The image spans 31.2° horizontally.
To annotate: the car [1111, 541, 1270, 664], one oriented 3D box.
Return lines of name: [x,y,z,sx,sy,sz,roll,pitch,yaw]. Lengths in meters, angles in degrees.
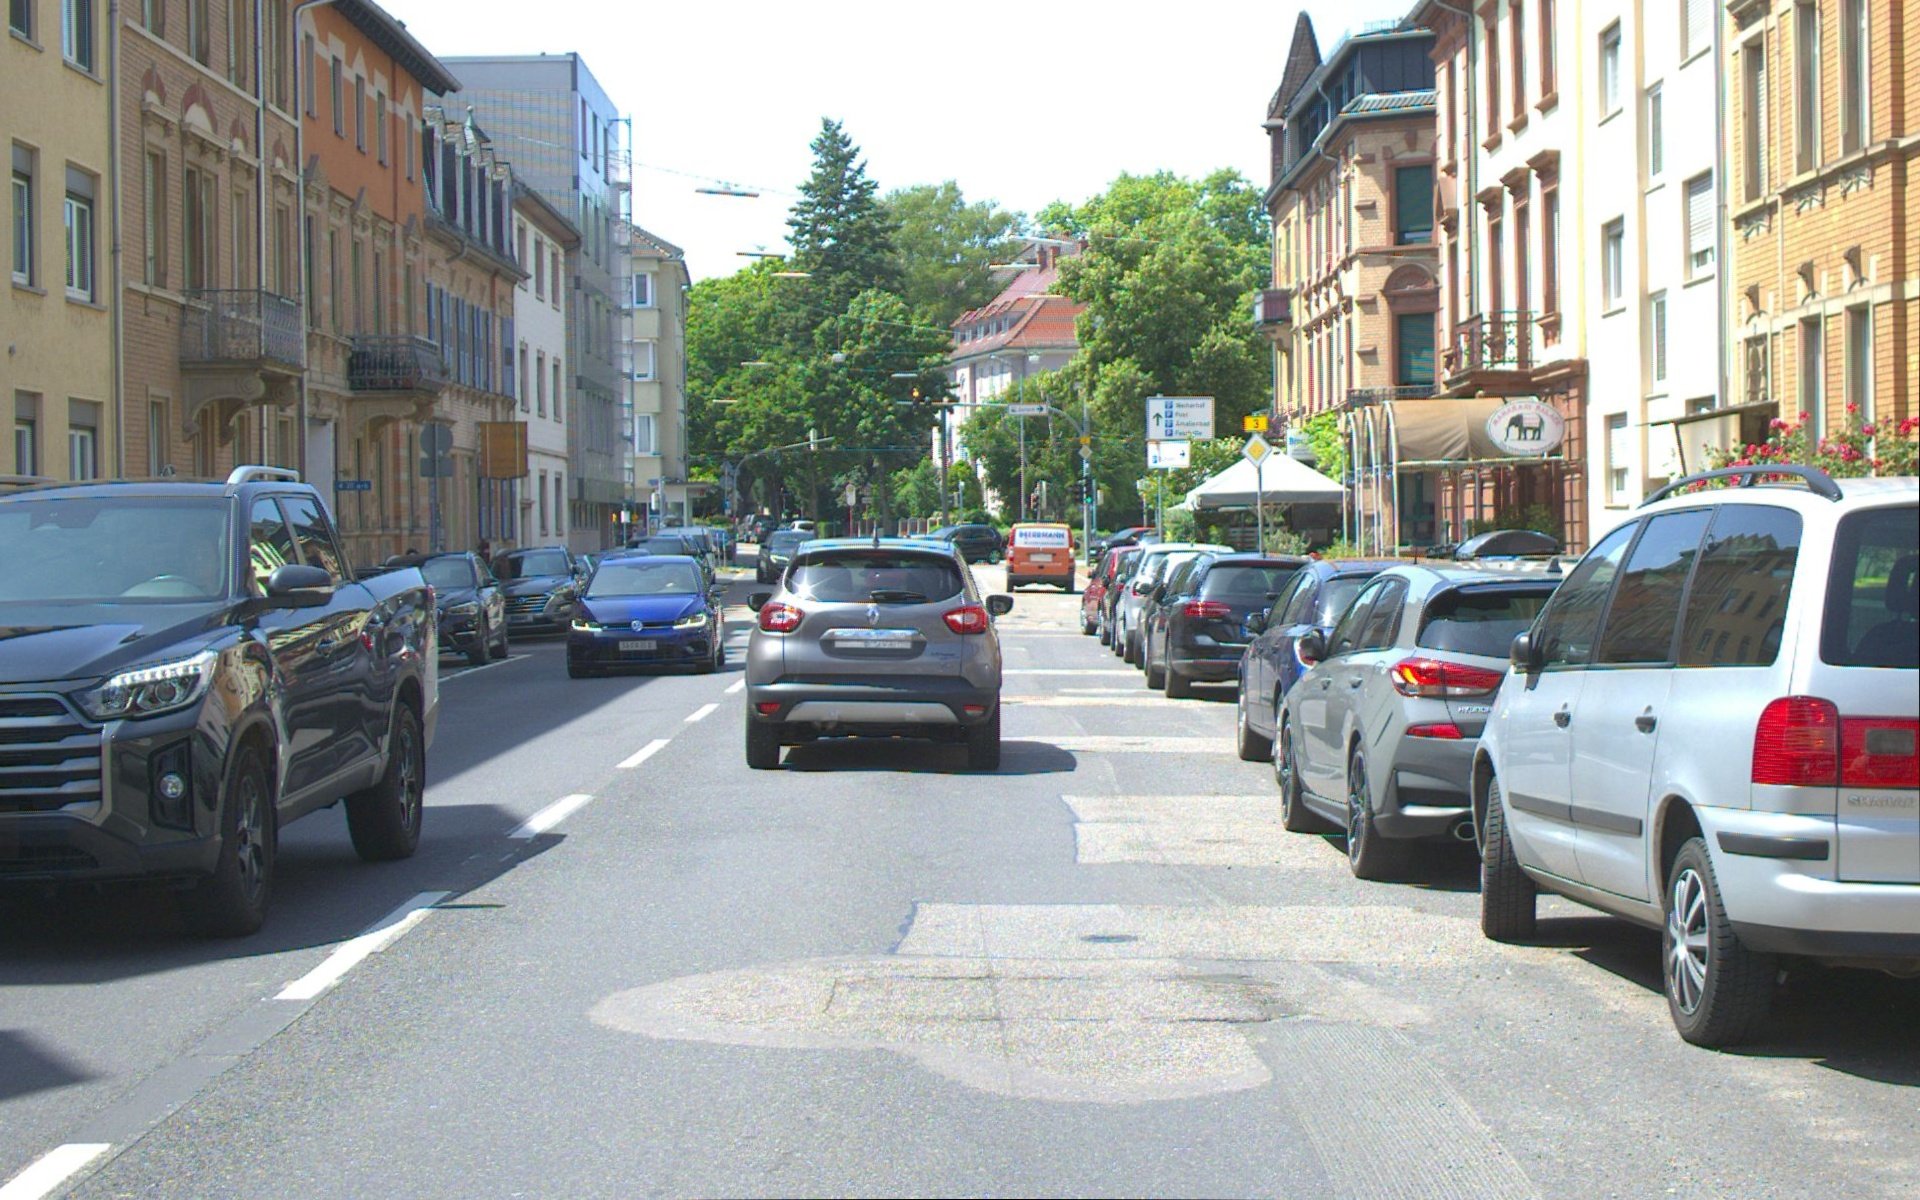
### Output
car: [3.062,0.002,46.356,1.860,1.548,4.000,1,1,0]

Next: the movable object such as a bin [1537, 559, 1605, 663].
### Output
movable object such as a bin: [7.063,0.121,39.766,0.638,1.182,0.852,1,1,2]

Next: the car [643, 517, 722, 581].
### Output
car: [-8.128,-1.503,100.863,1.904,1.815,4.302,-1,1,0]

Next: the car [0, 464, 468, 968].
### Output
car: [-3.594,0.384,14.916,1.993,1.786,5.148,-1,1,2]

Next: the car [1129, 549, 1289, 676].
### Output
car: [3.008,0.119,42.168,1.660,1.436,4.000,1,1,0]

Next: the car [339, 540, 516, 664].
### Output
car: [-7.585,-0.009,49.359,1.904,1.614,4.303,-3,1,-1]

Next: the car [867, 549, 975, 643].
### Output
car: [-0.767,-0.104,63.996,1.812,1.615,4.442,-2,1,-3]

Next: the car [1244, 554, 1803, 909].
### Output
car: [2.626,0.545,17.073,1.860,1.482,4.310,1,1,-3]

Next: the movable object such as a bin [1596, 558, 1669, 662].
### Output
movable object such as a bin: [7.777,0.110,39.756,0.668,1.173,0.852,1,1,1]

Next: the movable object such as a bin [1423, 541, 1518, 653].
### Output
movable object such as a bin: [6.488,-0.050,43.749,1.043,1.397,1.254,1,1,2]

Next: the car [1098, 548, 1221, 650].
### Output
car: [2.922,-0.041,50.892,1.611,1.456,3.505,0,1,0]

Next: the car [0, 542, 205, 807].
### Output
car: [-6.884,0.515,22.168,1.906,1.632,4.554,-2,1,17]

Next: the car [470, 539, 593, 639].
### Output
car: [-7.521,-0.213,60.684,1.904,1.614,4.303,-3,1,-5]

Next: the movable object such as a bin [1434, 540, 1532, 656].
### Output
movable object such as a bin: [6.457,-0.038,42.492,1.043,1.397,1.254,1,1,2]

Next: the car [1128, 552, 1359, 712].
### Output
car: [2.813,0.271,35.052,1.860,1.460,4.618,1,1,-1]

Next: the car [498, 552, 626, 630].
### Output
car: [-7.636,-0.203,66.286,1.904,1.352,4.302,-3,1,0]

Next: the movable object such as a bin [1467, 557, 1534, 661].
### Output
movable object such as a bin: [6.253,0.099,39.791,0.638,1.173,0.911,1,1,2]

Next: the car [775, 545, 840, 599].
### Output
car: [-4.659,-0.853,105.257,1.939,1.620,4.000,0,1,-2]

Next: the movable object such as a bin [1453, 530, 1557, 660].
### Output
movable object such as a bin: [6.506,-0.071,41.119,1.043,1.513,1.446,1,1,2]

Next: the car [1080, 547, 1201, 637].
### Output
car: [2.939,-0.157,56.600,1.611,1.438,3.437,0,1,-3]

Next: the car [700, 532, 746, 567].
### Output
car: [-11.146,-2.384,161.955,1.790,1.620,3.743,0,1,1]

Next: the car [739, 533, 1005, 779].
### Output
car: [-0.614,0.341,24.725,1.744,1.611,4.000,1,1,-1]

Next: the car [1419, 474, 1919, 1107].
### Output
car: [2.980,0.494,11.834,1.860,1.742,4.619,1,1,-4]

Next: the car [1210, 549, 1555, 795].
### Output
car: [2.806,0.417,23.775,1.695,1.482,4.618,1,1,-1]

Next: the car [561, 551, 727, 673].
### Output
car: [-3.858,0.114,42.457,1.816,1.384,4.001,-1,1,-2]

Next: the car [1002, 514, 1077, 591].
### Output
car: [2.215,-1.326,94.694,1.993,2.007,4.466,-1,1,2]
